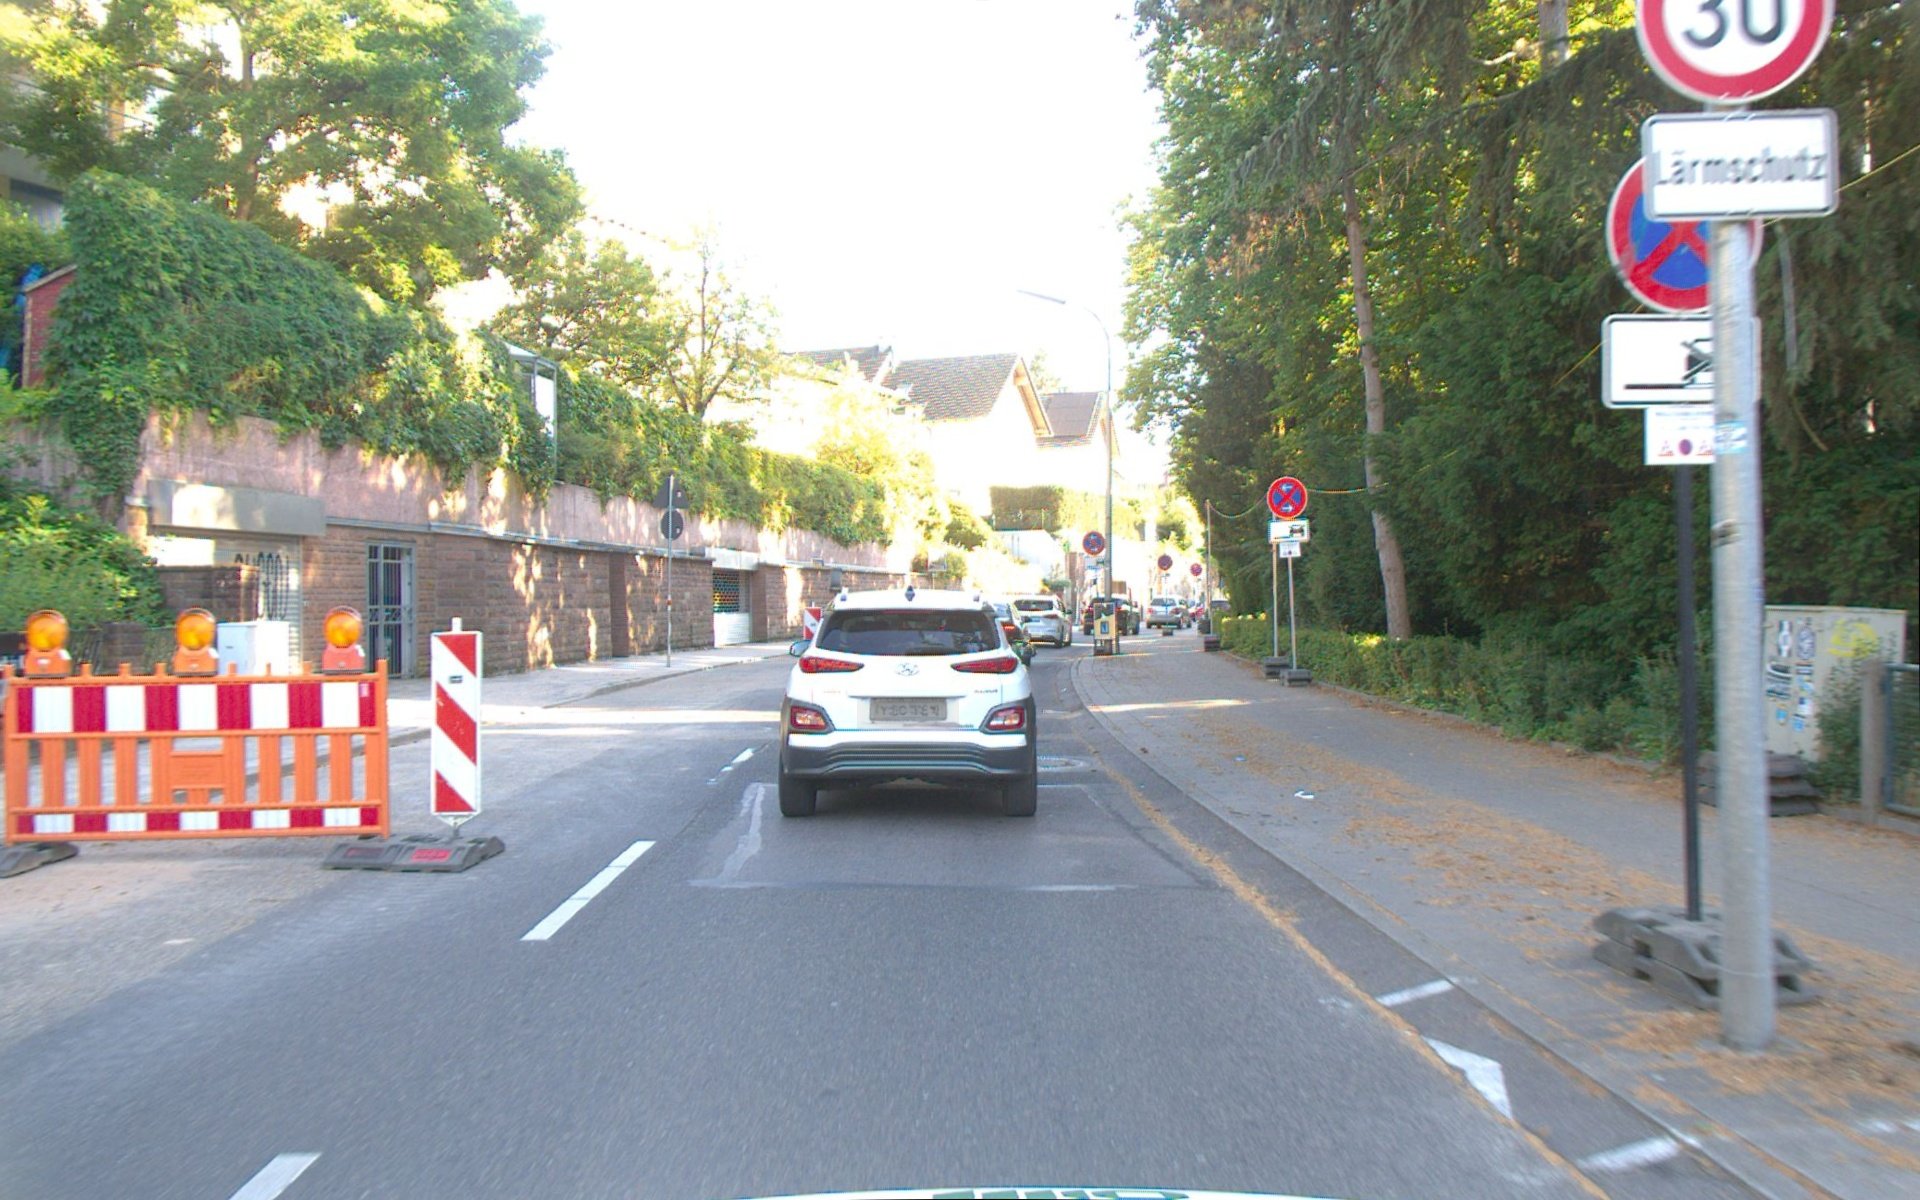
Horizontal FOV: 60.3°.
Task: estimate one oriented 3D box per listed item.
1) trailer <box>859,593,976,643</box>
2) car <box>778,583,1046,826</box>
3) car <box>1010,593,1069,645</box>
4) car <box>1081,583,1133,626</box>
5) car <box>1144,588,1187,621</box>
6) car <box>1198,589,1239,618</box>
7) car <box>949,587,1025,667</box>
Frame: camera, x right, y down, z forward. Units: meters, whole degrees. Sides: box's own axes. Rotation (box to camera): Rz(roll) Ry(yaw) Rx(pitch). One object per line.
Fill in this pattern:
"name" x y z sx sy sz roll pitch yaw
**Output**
"trailer" -1.296 0.553 54.764 2.583 1.515 7.124 1 0 9
"car" -0.338 0.670 12.707 1.736 1.569 3.999 0 0 -1
"car" 2.427 0.555 50.016 1.537 1.503 3.550 0 0 7
"car" 6.027 0.167 67.397 1.658 1.559 3.885 -4 0 10
"car" 10.162 0.214 81.530 1.658 1.472 3.885 -4 0 13
"car" 15.194 0.207 97.153 1.658 1.530 3.632 -4 0 19
"car" 0.555 0.529 34.719 1.481 1.560 3.548 -1 0 1
